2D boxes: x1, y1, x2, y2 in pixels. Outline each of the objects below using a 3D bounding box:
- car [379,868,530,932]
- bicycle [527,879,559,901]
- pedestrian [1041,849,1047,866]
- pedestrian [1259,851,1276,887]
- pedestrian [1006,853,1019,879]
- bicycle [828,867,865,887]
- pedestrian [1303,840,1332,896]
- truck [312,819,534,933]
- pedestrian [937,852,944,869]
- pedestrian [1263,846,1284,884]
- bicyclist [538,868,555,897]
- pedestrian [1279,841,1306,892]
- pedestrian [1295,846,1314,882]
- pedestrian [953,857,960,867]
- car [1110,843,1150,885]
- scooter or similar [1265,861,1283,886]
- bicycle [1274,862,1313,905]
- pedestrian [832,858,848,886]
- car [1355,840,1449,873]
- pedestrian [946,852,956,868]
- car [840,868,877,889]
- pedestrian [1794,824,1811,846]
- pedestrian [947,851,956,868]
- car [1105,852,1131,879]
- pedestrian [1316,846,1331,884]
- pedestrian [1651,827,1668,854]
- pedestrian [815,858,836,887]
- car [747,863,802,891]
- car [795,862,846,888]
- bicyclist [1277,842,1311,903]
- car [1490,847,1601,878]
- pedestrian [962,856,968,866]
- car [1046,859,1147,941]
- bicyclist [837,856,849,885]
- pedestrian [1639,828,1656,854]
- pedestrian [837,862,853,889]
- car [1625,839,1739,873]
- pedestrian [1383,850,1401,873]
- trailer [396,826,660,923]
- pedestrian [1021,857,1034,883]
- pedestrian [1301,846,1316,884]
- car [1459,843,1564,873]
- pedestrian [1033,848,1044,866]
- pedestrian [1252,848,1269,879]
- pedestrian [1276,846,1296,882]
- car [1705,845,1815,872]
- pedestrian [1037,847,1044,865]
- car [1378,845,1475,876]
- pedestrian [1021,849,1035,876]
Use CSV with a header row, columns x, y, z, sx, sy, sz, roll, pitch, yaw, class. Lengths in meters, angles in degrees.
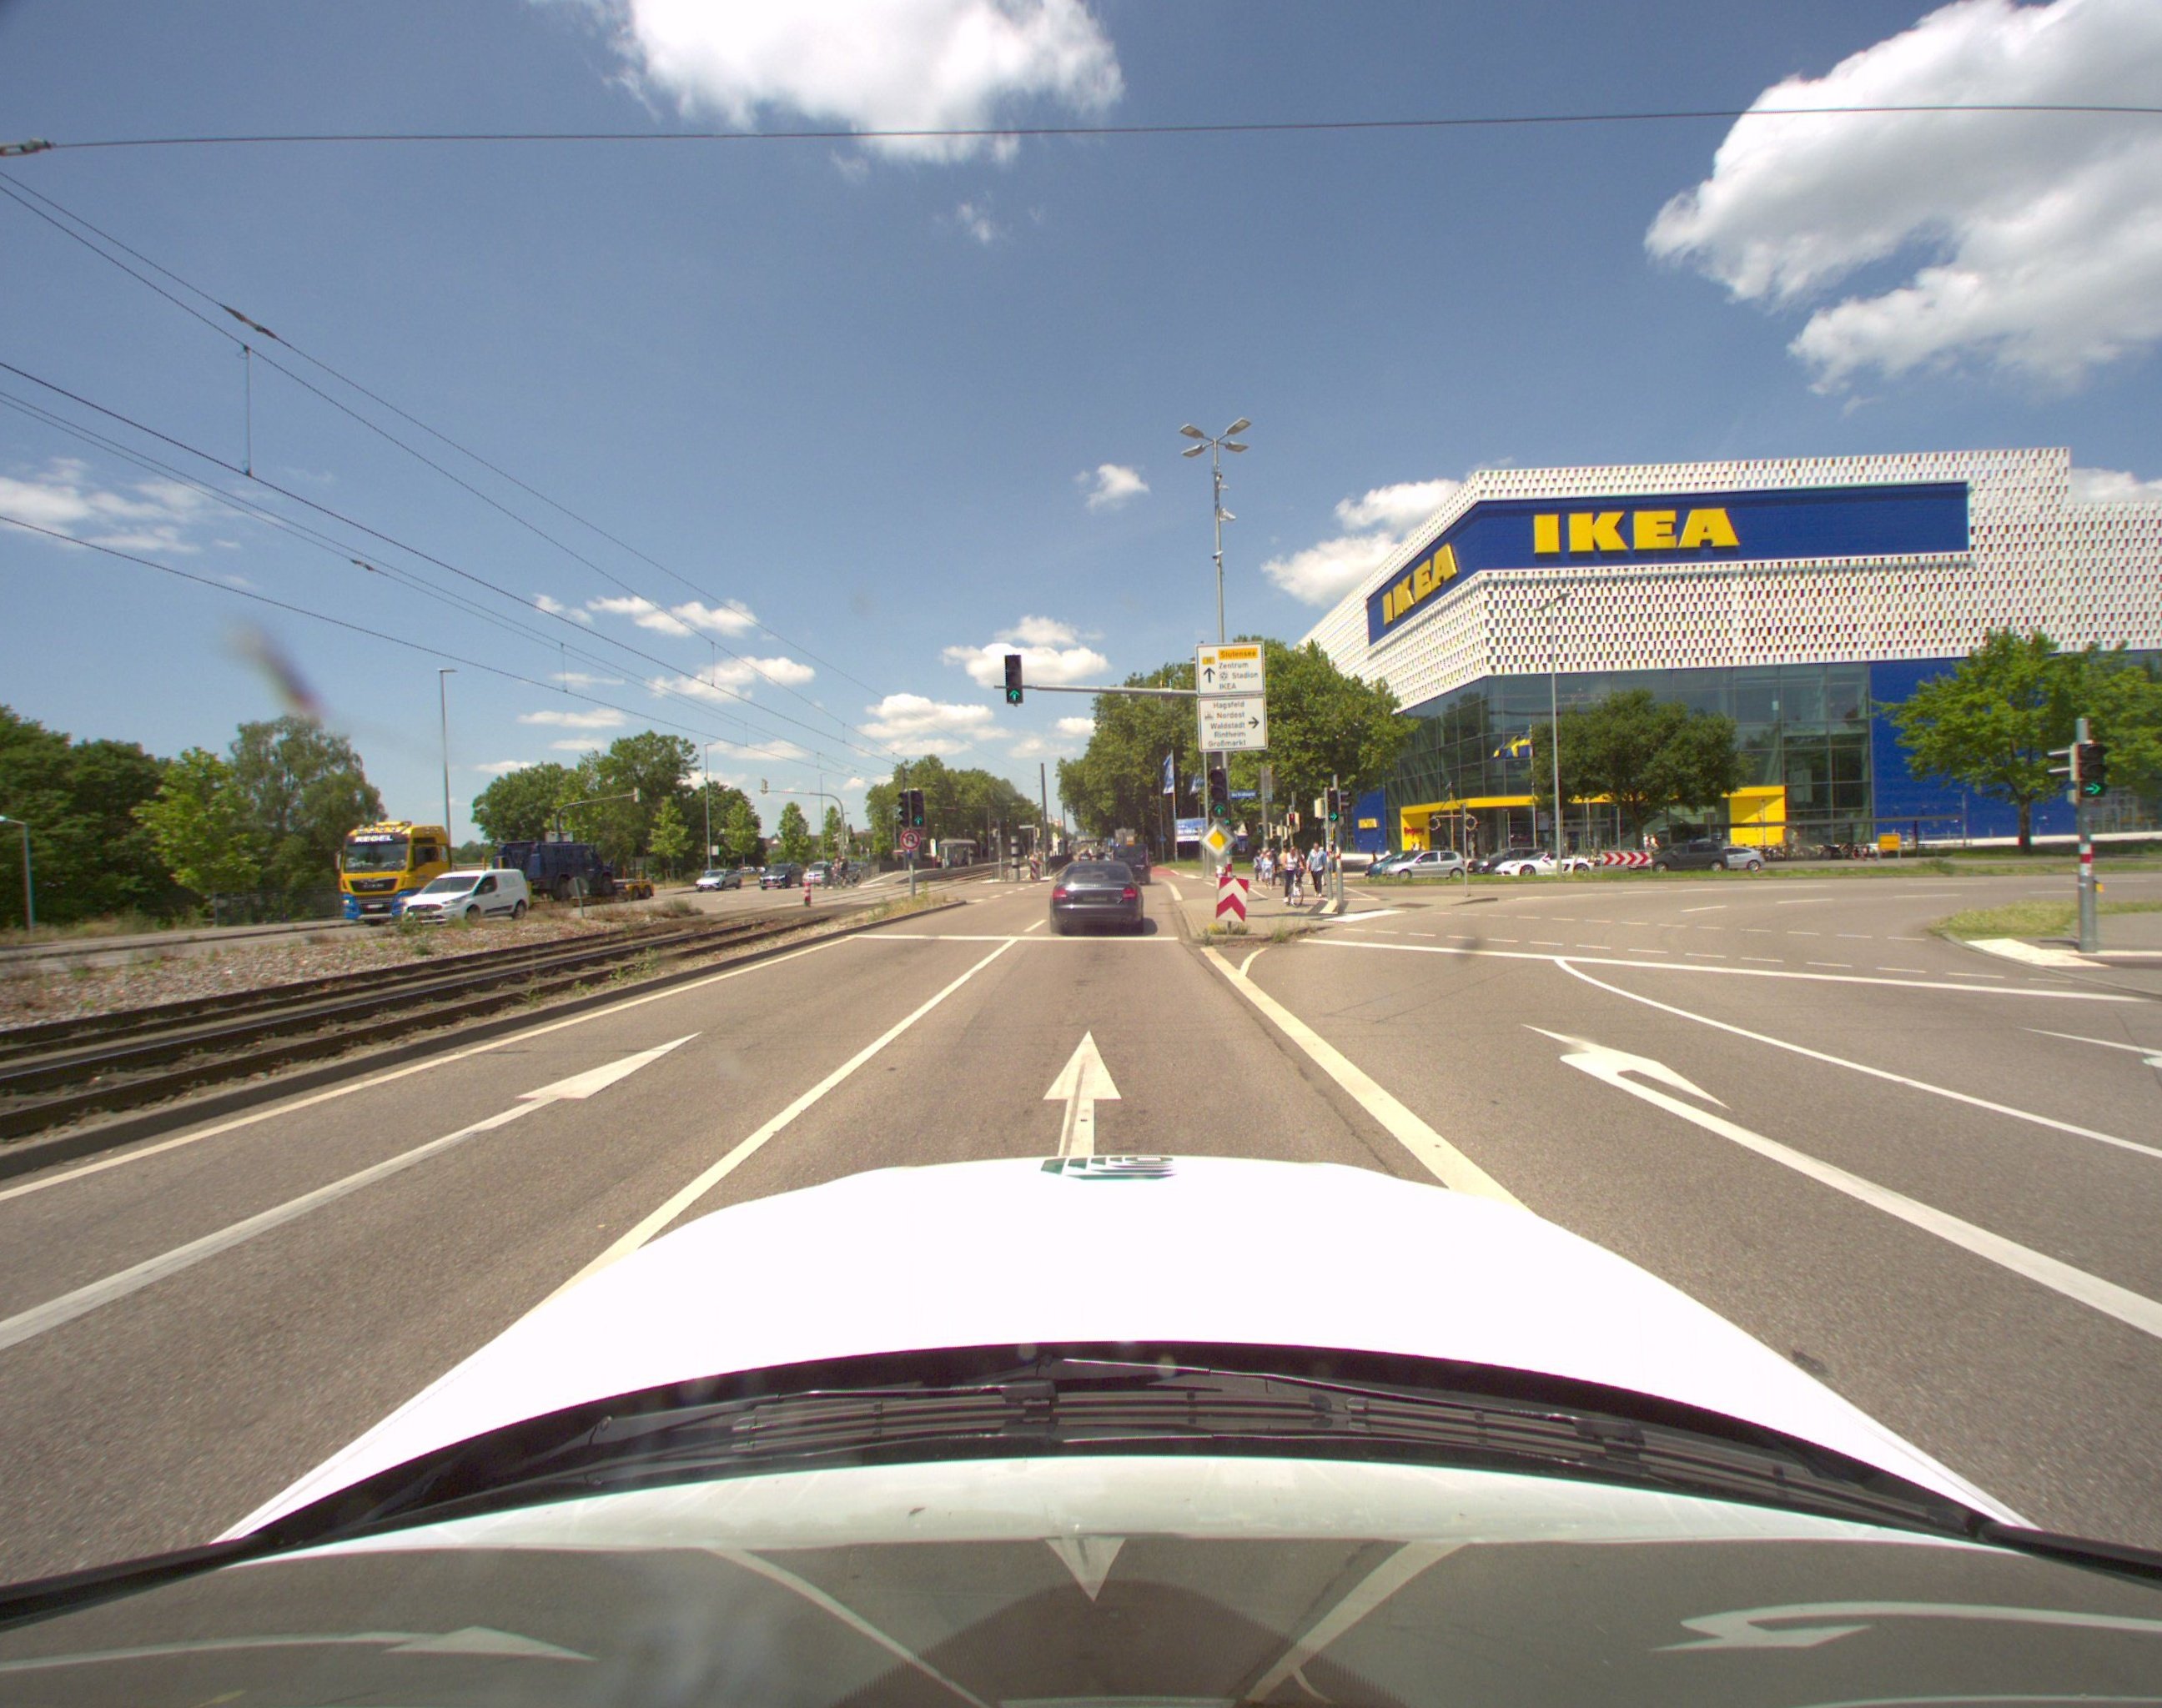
x,y,z,sx,sy,sz,roll,pitch,yaw,class
-20.322,1.405,26.701,1.993,1.838,4.420,-1,0,-9,car
-30.986,2.077,46.908,1.521,1.193,0.591,-1,0,7,bicycle
-3.517,0.307,76.952,0.495,1.577,0.557,-2,0,-1,pedestrian
7.676,0.611,33.530,0.586,1.476,0.807,0,0,6,pedestrian
-4.355,0.766,51.904,0.730,1.673,0.678,-1,0,-3,pedestrian
-13.424,1.318,46.700,1.975,1.101,0.760,-1,0,-15,bicycle
8.063,0.463,27.824,0.799,1.865,0.799,-1,0,5,pedestrian
-26.113,0.762,32.969,3.119,4.038,7.466,-1,0,-4,truck
-13.964,0.638,80.940,0.556,1.638,0.805,-2,0,-7,pedestrian
8.550,0.493,36.187,0.778,1.672,0.949,-1,0,8,pedestrian
-30.749,1.645,46.850,0.582,1.610,0.545,-1,0,7,bicyclist
7.473,0.428,28.795,0.799,1.759,0.799,-1,0,5,pedestrian
10.461,0.469,38.095,0.788,1.659,0.856,-1,0,17,pedestrian
-13.841,0.902,90.465,0.574,1.094,0.639,-2,0,1,pedestrian
2.405,0.458,40.196,1.841,1.959,4.147,-1,0,2,car
8.447,0.846,35.621,0.685,1.031,0.865,-1,0,8,scooter or similar
6.077,0.827,23.409,0.824,1.162,1.883,-1,-1,7,bicycle
-14.898,1.094,50.316,0.759,1.672,0.763,-2,0,-2,pedestrian
16.311,0.113,41.514,3.975,1.555,1.999,-1,0,-1,car
-14.027,0.622,87.813,0.817,1.638,0.582,-2,0,38,pedestrian
-19.752,2.160,72.493,1.986,1.629,4.002,-1,0,2,car
53.896,-1.399,60.811,0.765,1.586,0.579,-2,0,-5,pedestrian
-13.741,0.569,86.259,0.729,1.729,0.582,-2,0,38,pedestrian
2.826,0.849,62.304,1.841,1.959,4.147,-1,0,2,car
10.649,0.486,35.757,0.598,1.638,0.867,-1,-1,15,pedestrian
43.878,-0.996,61.739,0.792,2.013,0.734,-1,0,8,pedestrian
-14.964,1.079,47.765,0.954,1.610,0.763,-2,0,-2,pedestrian
-20.060,1.453,53.469,1.986,1.629,4.002,-1,0,2,car
-17.292,1.368,54.290,1.986,1.629,4.002,-1,0,2,car
6.128,0.533,23.455,0.810,1.701,0.800,-1,-2,5,bicyclist
21.765,0.387,38.274,4.202,1.398,1.805,-1,0,3,car
-13.917,0.795,98.073,0.574,1.190,0.639,-2,0,1,pedestrian
0.375,0.855,16.958,1.835,1.484,4.003,-1,0,3,car
-13.625,0.933,46.640,0.665,1.615,0.730,-1,0,-15,bicyclist
43.845,-0.991,63.051,0.791,2.013,0.735,-1,0,12,pedestrian
-14.188,1.273,48.979,0.759,1.548,0.763,-2,0,-2,pedestrian
30.392,0.100,41.289,4.382,1.584,1.865,-1,0,3,car
21.705,0.502,56.817,0.916,1.586,0.632,-2,0,-5,pedestrian
-26.419,0.823,40.750,3.107,3.870,15.469,-1,0,-2,trailer
-3.300,0.969,50.462,0.783,1.572,0.764,-1,0,-3,pedestrian
10.063,0.492,35.983,0.601,1.638,0.867,-1,-1,15,pedestrian
22.025,0.218,41.763,4.386,1.443,1.853,-1,0,-1,car
-3.894,0.289,75.117,0.888,1.605,0.924,-2,0,-1,pedestrian
9.422,0.492,42.677,0.759,1.606,0.901,-1,0,18,pedestrian
9.610,0.459,38.156,0.788,1.659,0.856,-1,0,17,pedestrian
37.055,0.249,44.520,4.382,1.398,1.865,-1,0,3,car
-3.879,0.206,78.289,0.612,1.681,0.719,-1,0,-1,pedestrian
16.161,0.292,38.206,3.808,1.397,1.805,-1,0,3,car
-3.573,0.561,54.895,0.860,1.802,0.882,-1,0,-3,pedestrian
